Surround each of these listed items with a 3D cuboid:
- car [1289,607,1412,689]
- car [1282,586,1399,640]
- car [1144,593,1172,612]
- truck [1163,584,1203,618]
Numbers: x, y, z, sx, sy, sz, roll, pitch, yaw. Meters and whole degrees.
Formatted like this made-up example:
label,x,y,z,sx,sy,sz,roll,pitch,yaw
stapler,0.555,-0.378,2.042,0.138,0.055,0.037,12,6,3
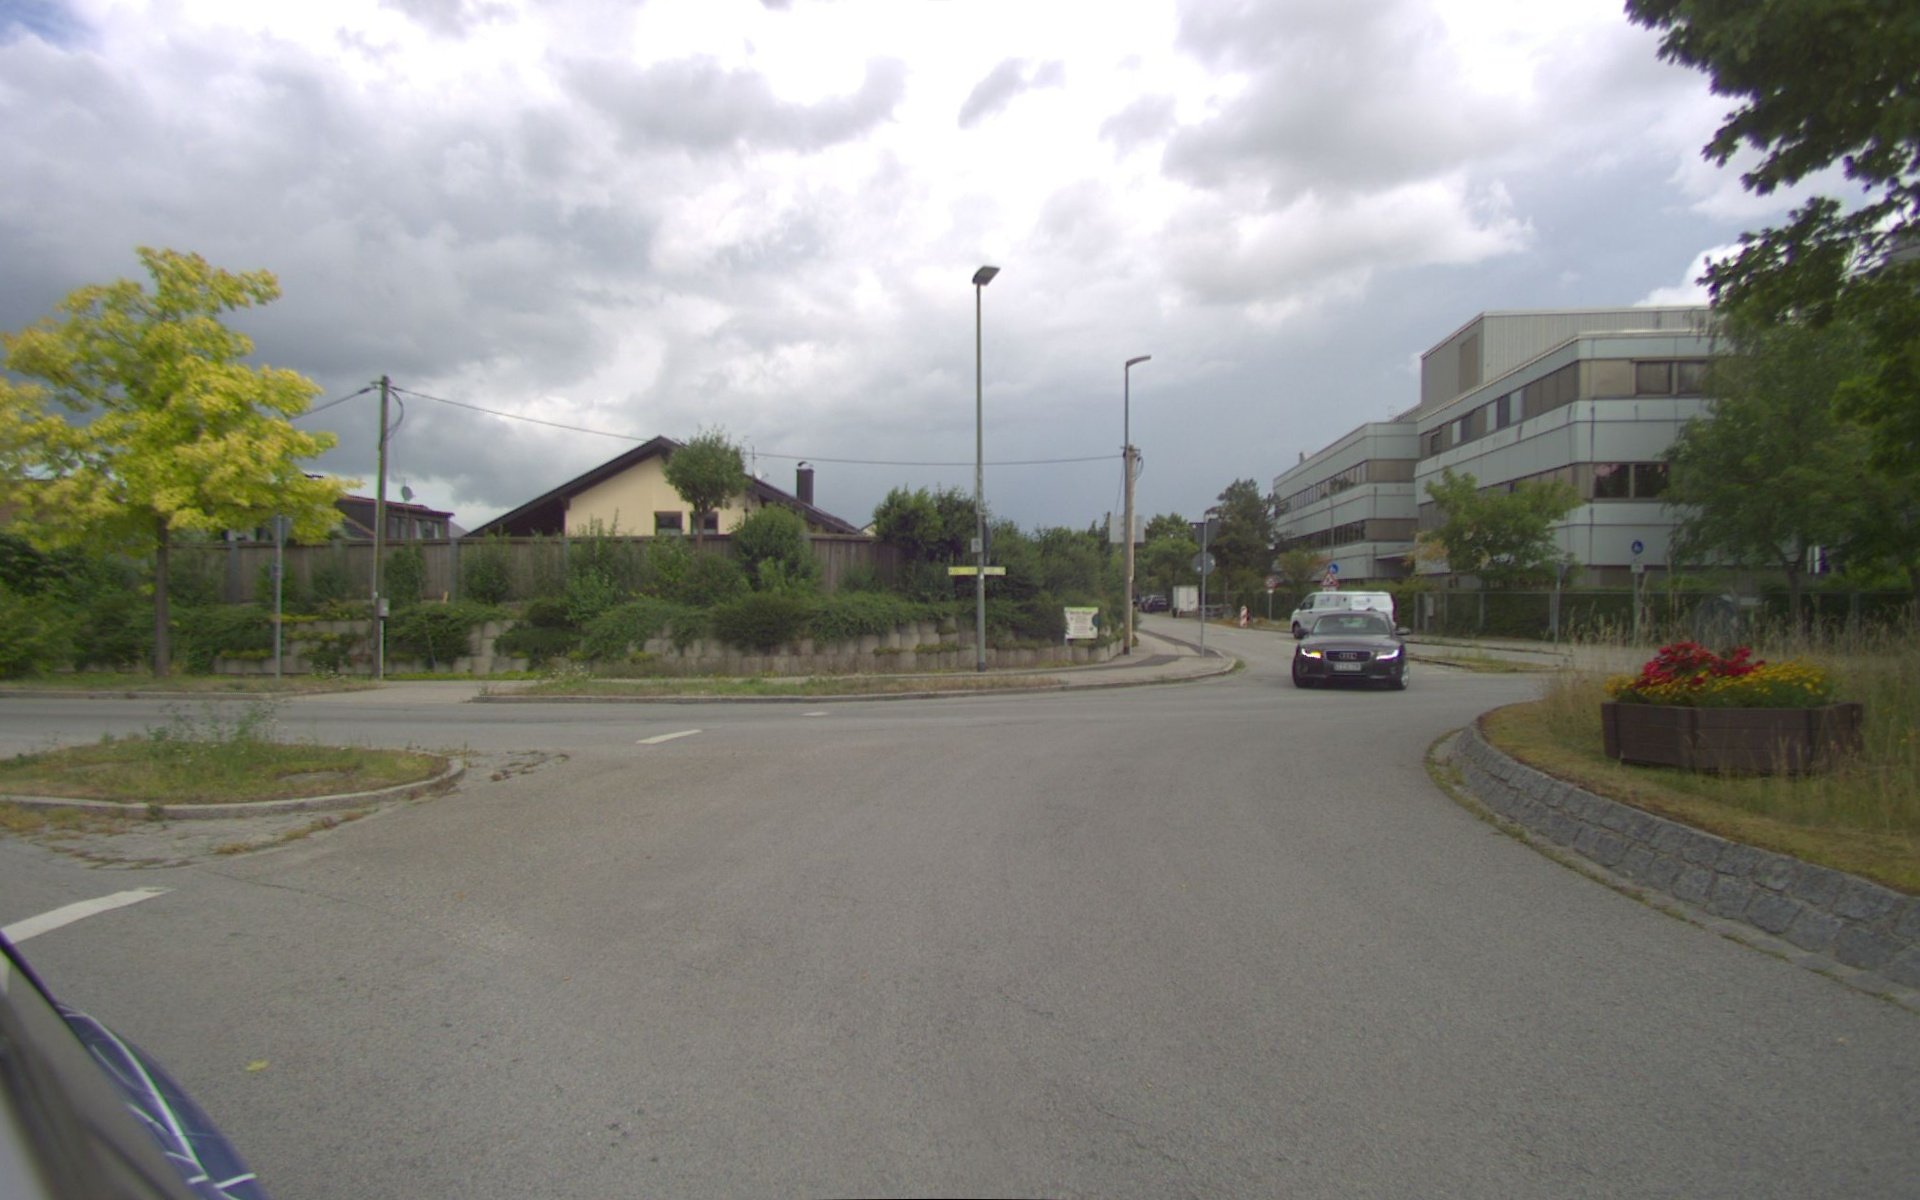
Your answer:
label,x,y,z,sx,sy,sz,roll,pitch,yaw
car,7.412,0.834,19.165,1.923,1.357,4.436,-1,-1,22
car,14.470,0.497,38.866,1.968,1.920,5.081,0,-1,-9
car,17.694,0.172,90.637,1.975,1.663,3.994,0,0,5
truck,17.106,0.048,77.799,2.261,2.518,5.277,0,0,5
